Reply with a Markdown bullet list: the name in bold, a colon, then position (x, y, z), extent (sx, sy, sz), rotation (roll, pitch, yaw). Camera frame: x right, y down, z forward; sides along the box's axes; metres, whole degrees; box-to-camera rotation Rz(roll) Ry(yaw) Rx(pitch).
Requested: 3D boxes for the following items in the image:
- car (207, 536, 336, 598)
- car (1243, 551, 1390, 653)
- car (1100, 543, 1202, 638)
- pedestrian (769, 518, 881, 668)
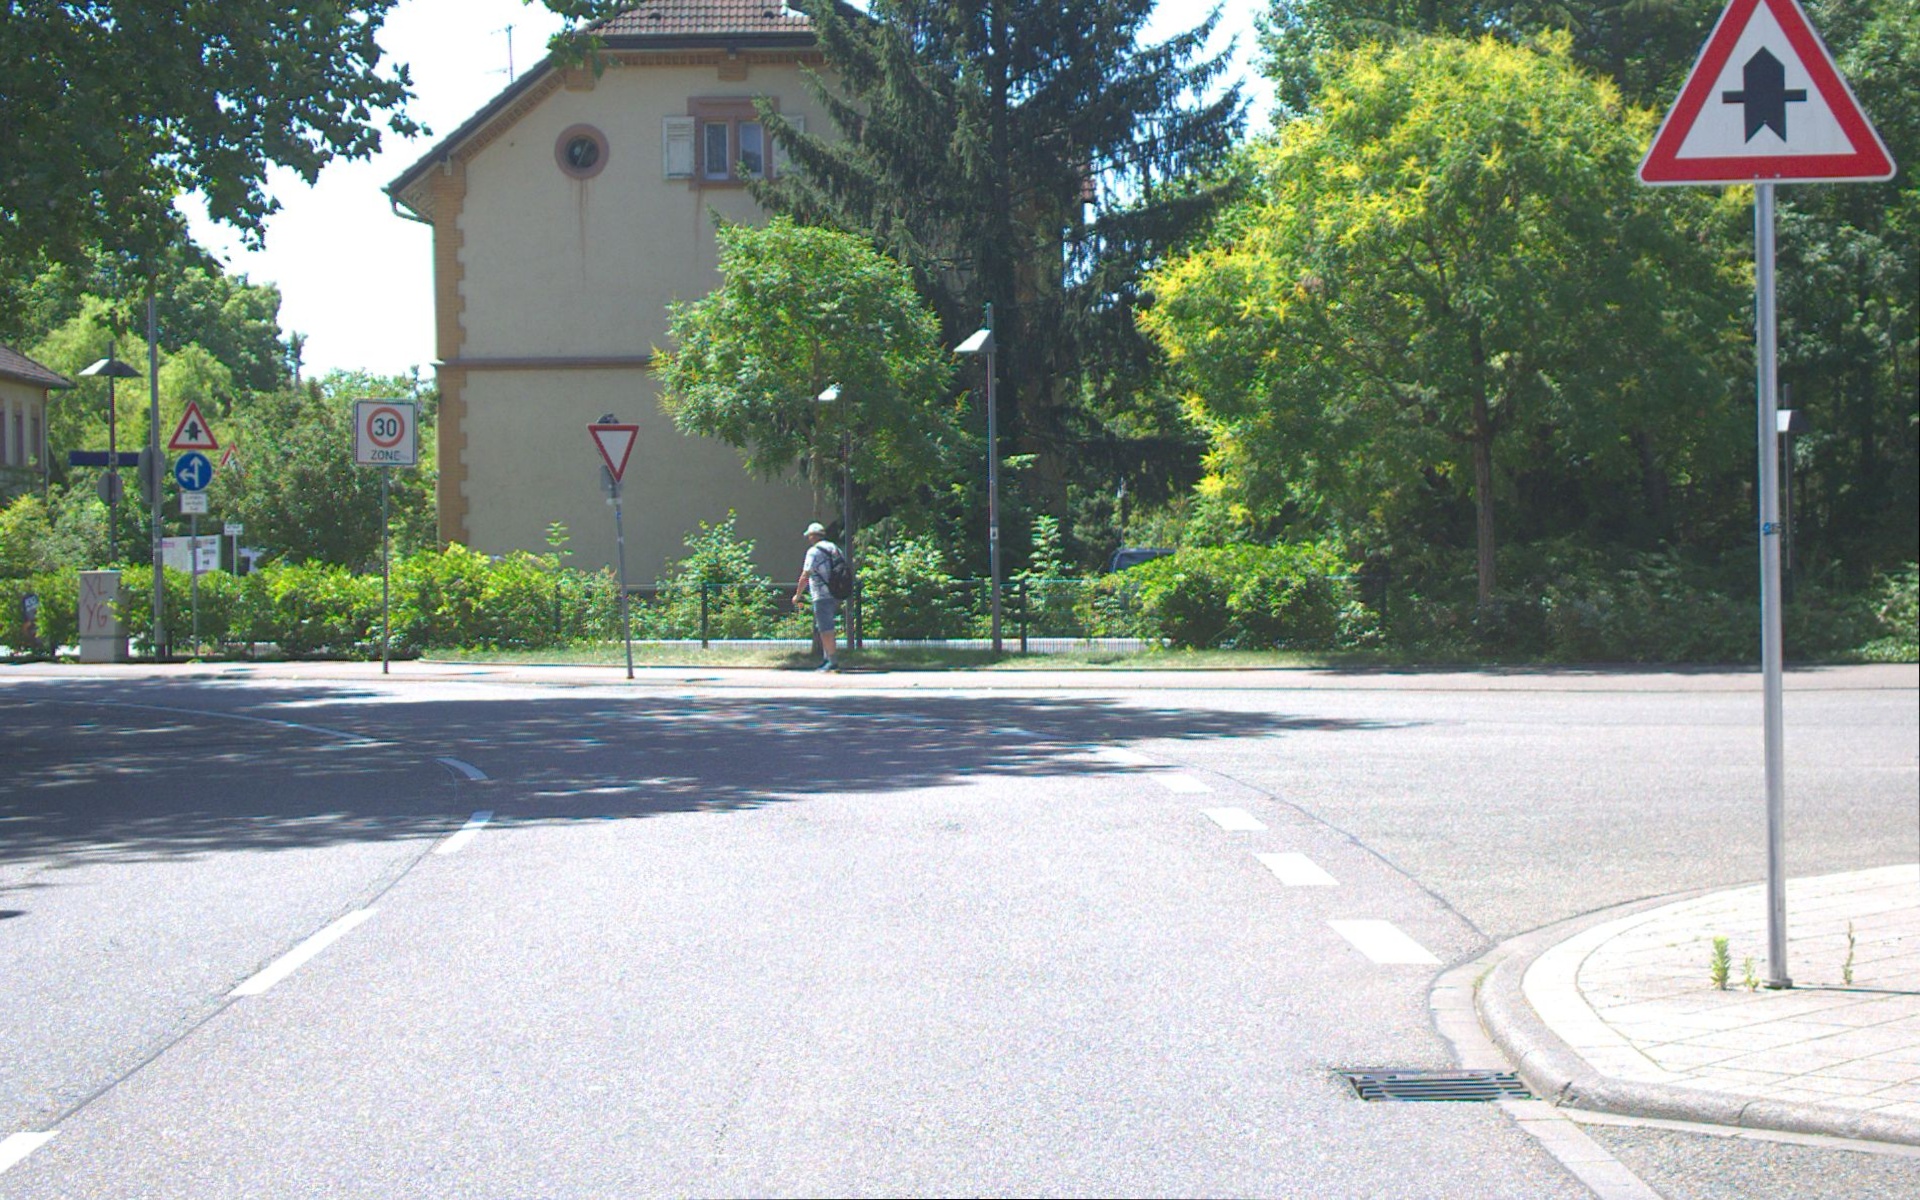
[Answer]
- **car**: position (-26.476, -1.286, 132.344), extent (4.444, 2.314, 2.202), rotation (-1, 1, 2)
- **car**: position (5.512, 0.001, 53.603), extent (1.764, 1.494, 4.500), rotation (-1, 1, 0)
- **car**: position (3.233, -0.177, 58.027), extent (1.650, 1.531, 3.969), rotation (-1, 1, 3)
- **pedestrian**: position (-1.661, -0.096, 42.228), extent (0.912, 1.765, 0.915), rotation (-5, 4, -40)
